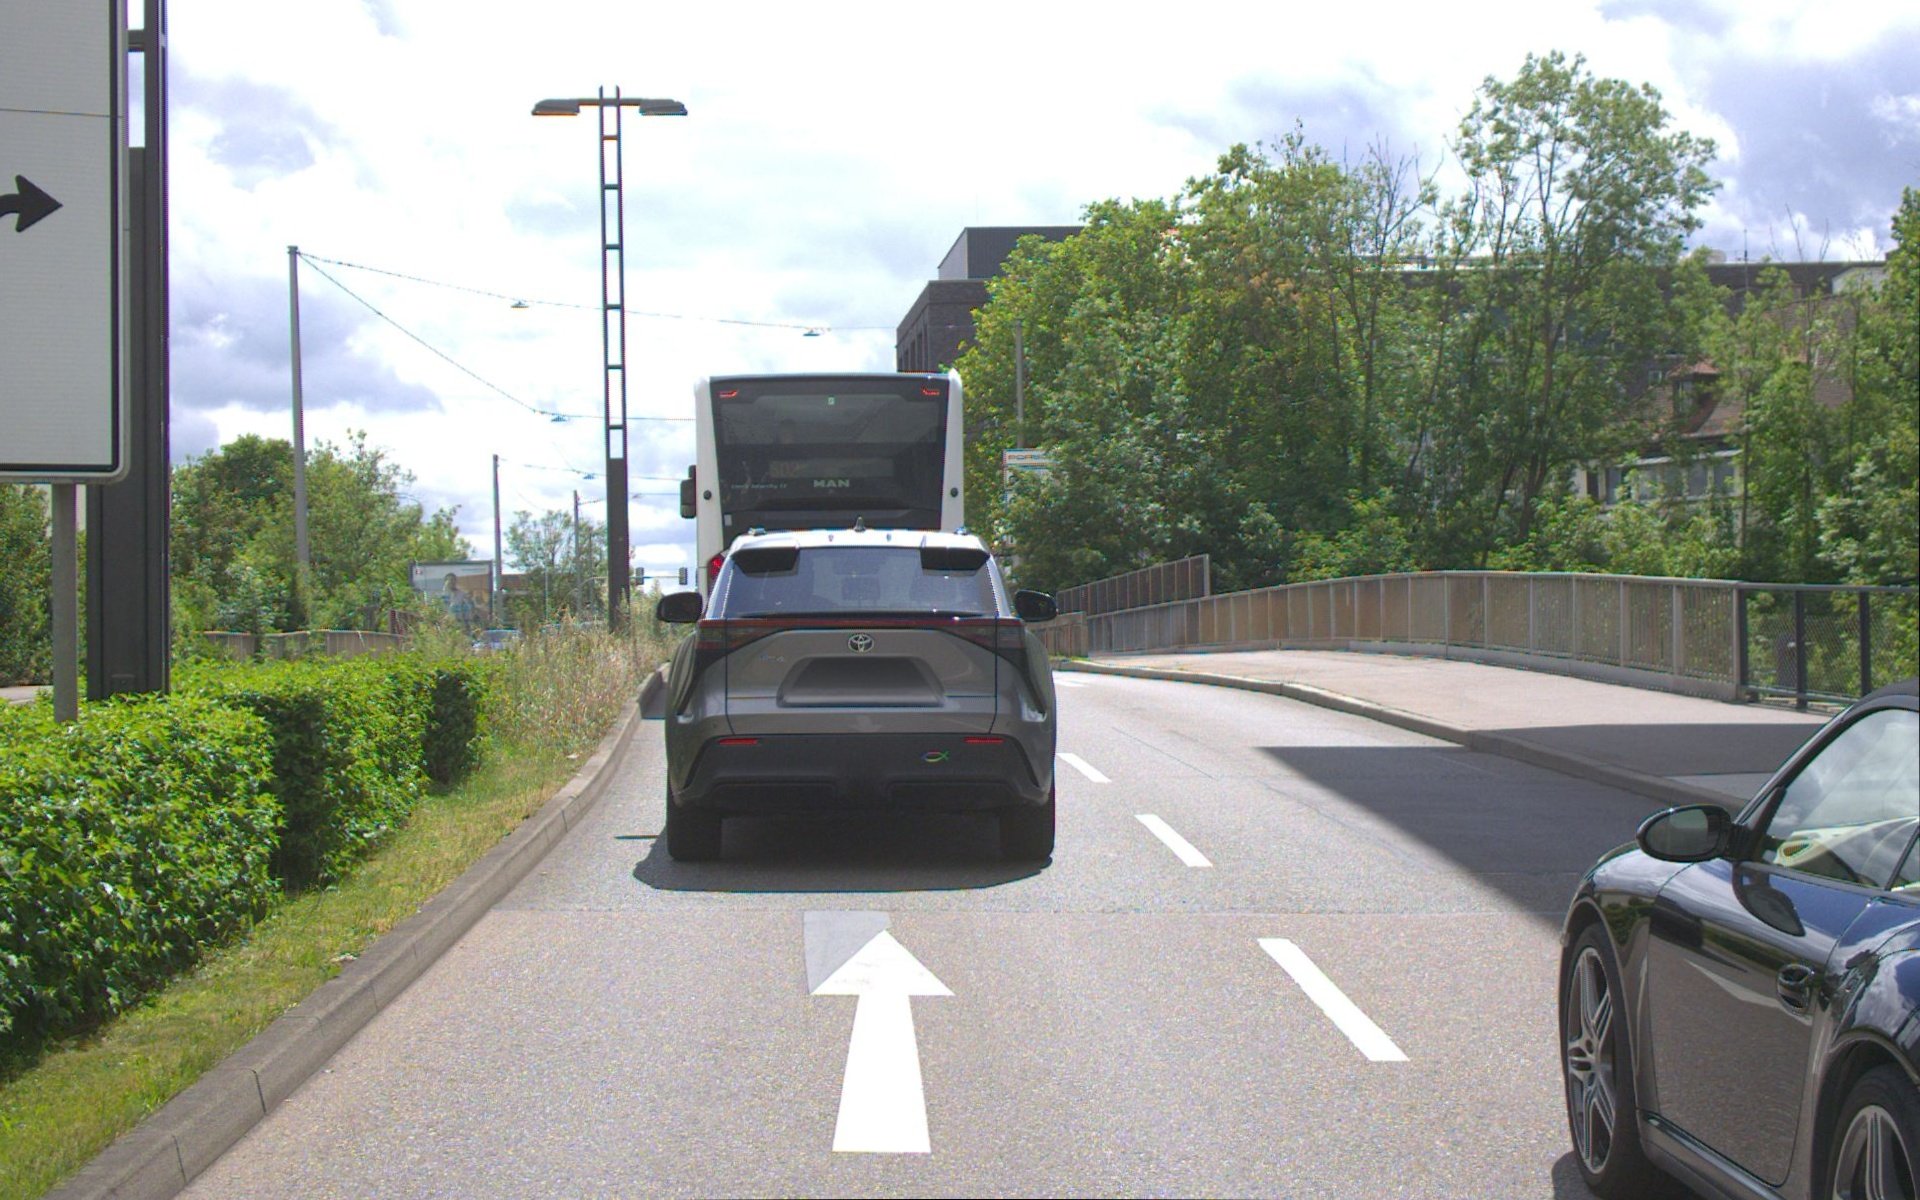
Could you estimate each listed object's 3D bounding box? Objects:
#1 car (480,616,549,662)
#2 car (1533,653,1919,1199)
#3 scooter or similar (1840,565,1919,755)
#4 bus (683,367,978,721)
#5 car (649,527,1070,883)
[{"bbox_3d":[-13.455,1.176,104.013,1.754,1.271,4.000,-4,0,-4],"label":"car"},{"bbox_3d":[2.303,0.787,6.503,1.720,1.271,4.088,0,1,-1],"label":"car"},{"bbox_3d":[6.449,0.380,22.702,0.653,1.210,1.858,-2,0,-4],"label":"scooter or similar"},{"bbox_3d":[-1.420,-0.689,37.790,2.689,3.244,12.059,1,2,-2],"label":"bus"},{"bbox_3d":[-0.519,0.457,17.573,1.879,1.588,4.230,0,0,-2],"label":"car"}]
